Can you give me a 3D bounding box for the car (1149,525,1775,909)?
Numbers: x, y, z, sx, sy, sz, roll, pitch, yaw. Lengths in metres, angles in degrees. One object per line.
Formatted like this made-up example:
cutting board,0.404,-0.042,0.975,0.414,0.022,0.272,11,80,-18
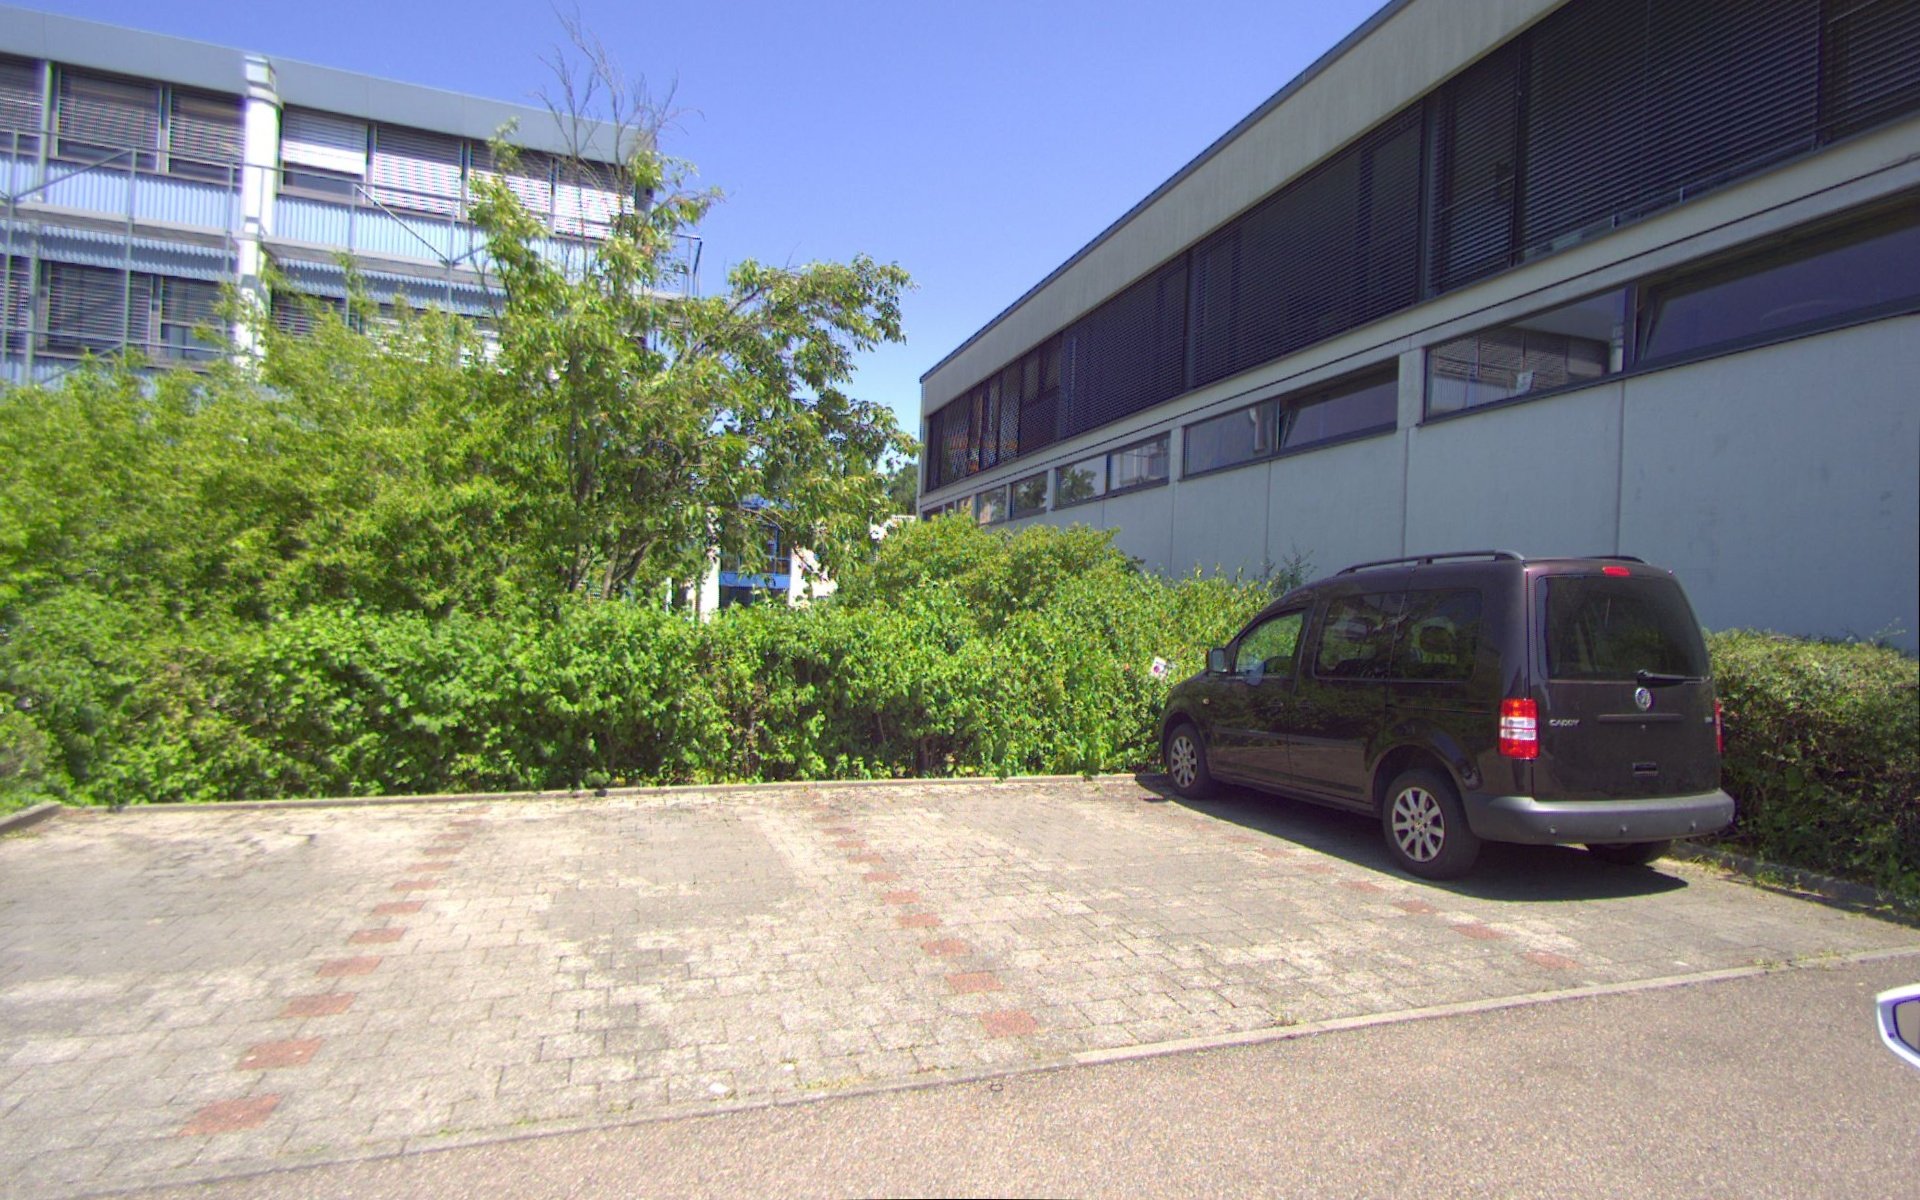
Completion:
car,3.065,0.614,7.183,1.652,1.909,4.056,1,-1,-17
